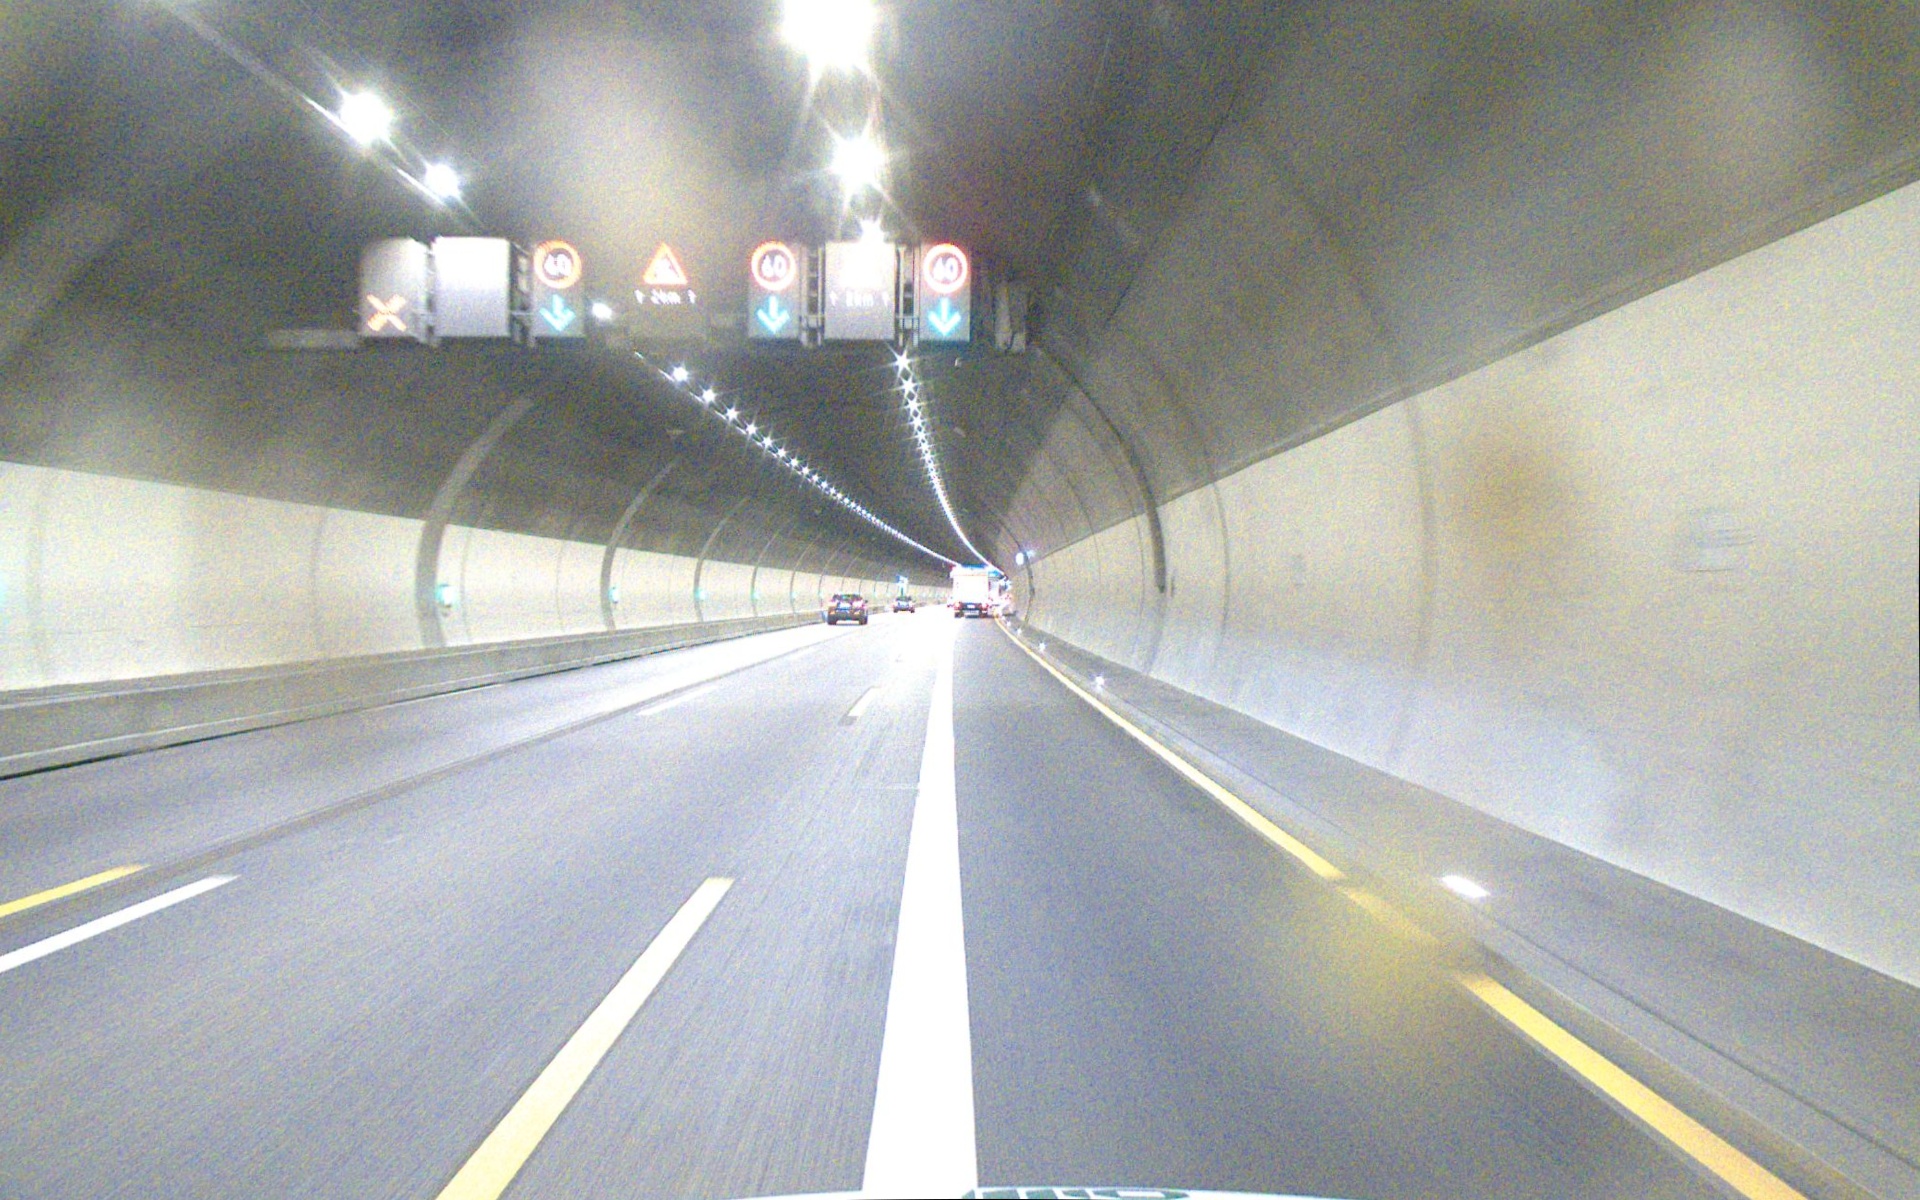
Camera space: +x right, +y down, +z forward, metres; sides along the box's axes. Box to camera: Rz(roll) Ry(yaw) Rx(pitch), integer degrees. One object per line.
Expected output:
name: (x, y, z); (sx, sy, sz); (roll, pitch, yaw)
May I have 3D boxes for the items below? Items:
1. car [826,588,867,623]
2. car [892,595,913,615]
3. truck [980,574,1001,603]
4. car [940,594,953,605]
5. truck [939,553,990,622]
car: (-5.585, 0.256, 82.077); (1.775, 1.646, 4.000); (0, 1, 0)
car: (-4.807, 0.413, 138.680); (1.776, 1.546, 4.000); (0, 2, -2)
truck: (4.556, -1.685, 248.017); (2.862, 4.118, 14.030); (-1, 0, 1)
car: (-1.670, -0.054, 203.319); (1.617, 1.297, 4.000); (0, 2, -2)
truck: (0.195, -0.891, 123.610); (3.212, 4.731, 17.281); (-1, 0, -1)
